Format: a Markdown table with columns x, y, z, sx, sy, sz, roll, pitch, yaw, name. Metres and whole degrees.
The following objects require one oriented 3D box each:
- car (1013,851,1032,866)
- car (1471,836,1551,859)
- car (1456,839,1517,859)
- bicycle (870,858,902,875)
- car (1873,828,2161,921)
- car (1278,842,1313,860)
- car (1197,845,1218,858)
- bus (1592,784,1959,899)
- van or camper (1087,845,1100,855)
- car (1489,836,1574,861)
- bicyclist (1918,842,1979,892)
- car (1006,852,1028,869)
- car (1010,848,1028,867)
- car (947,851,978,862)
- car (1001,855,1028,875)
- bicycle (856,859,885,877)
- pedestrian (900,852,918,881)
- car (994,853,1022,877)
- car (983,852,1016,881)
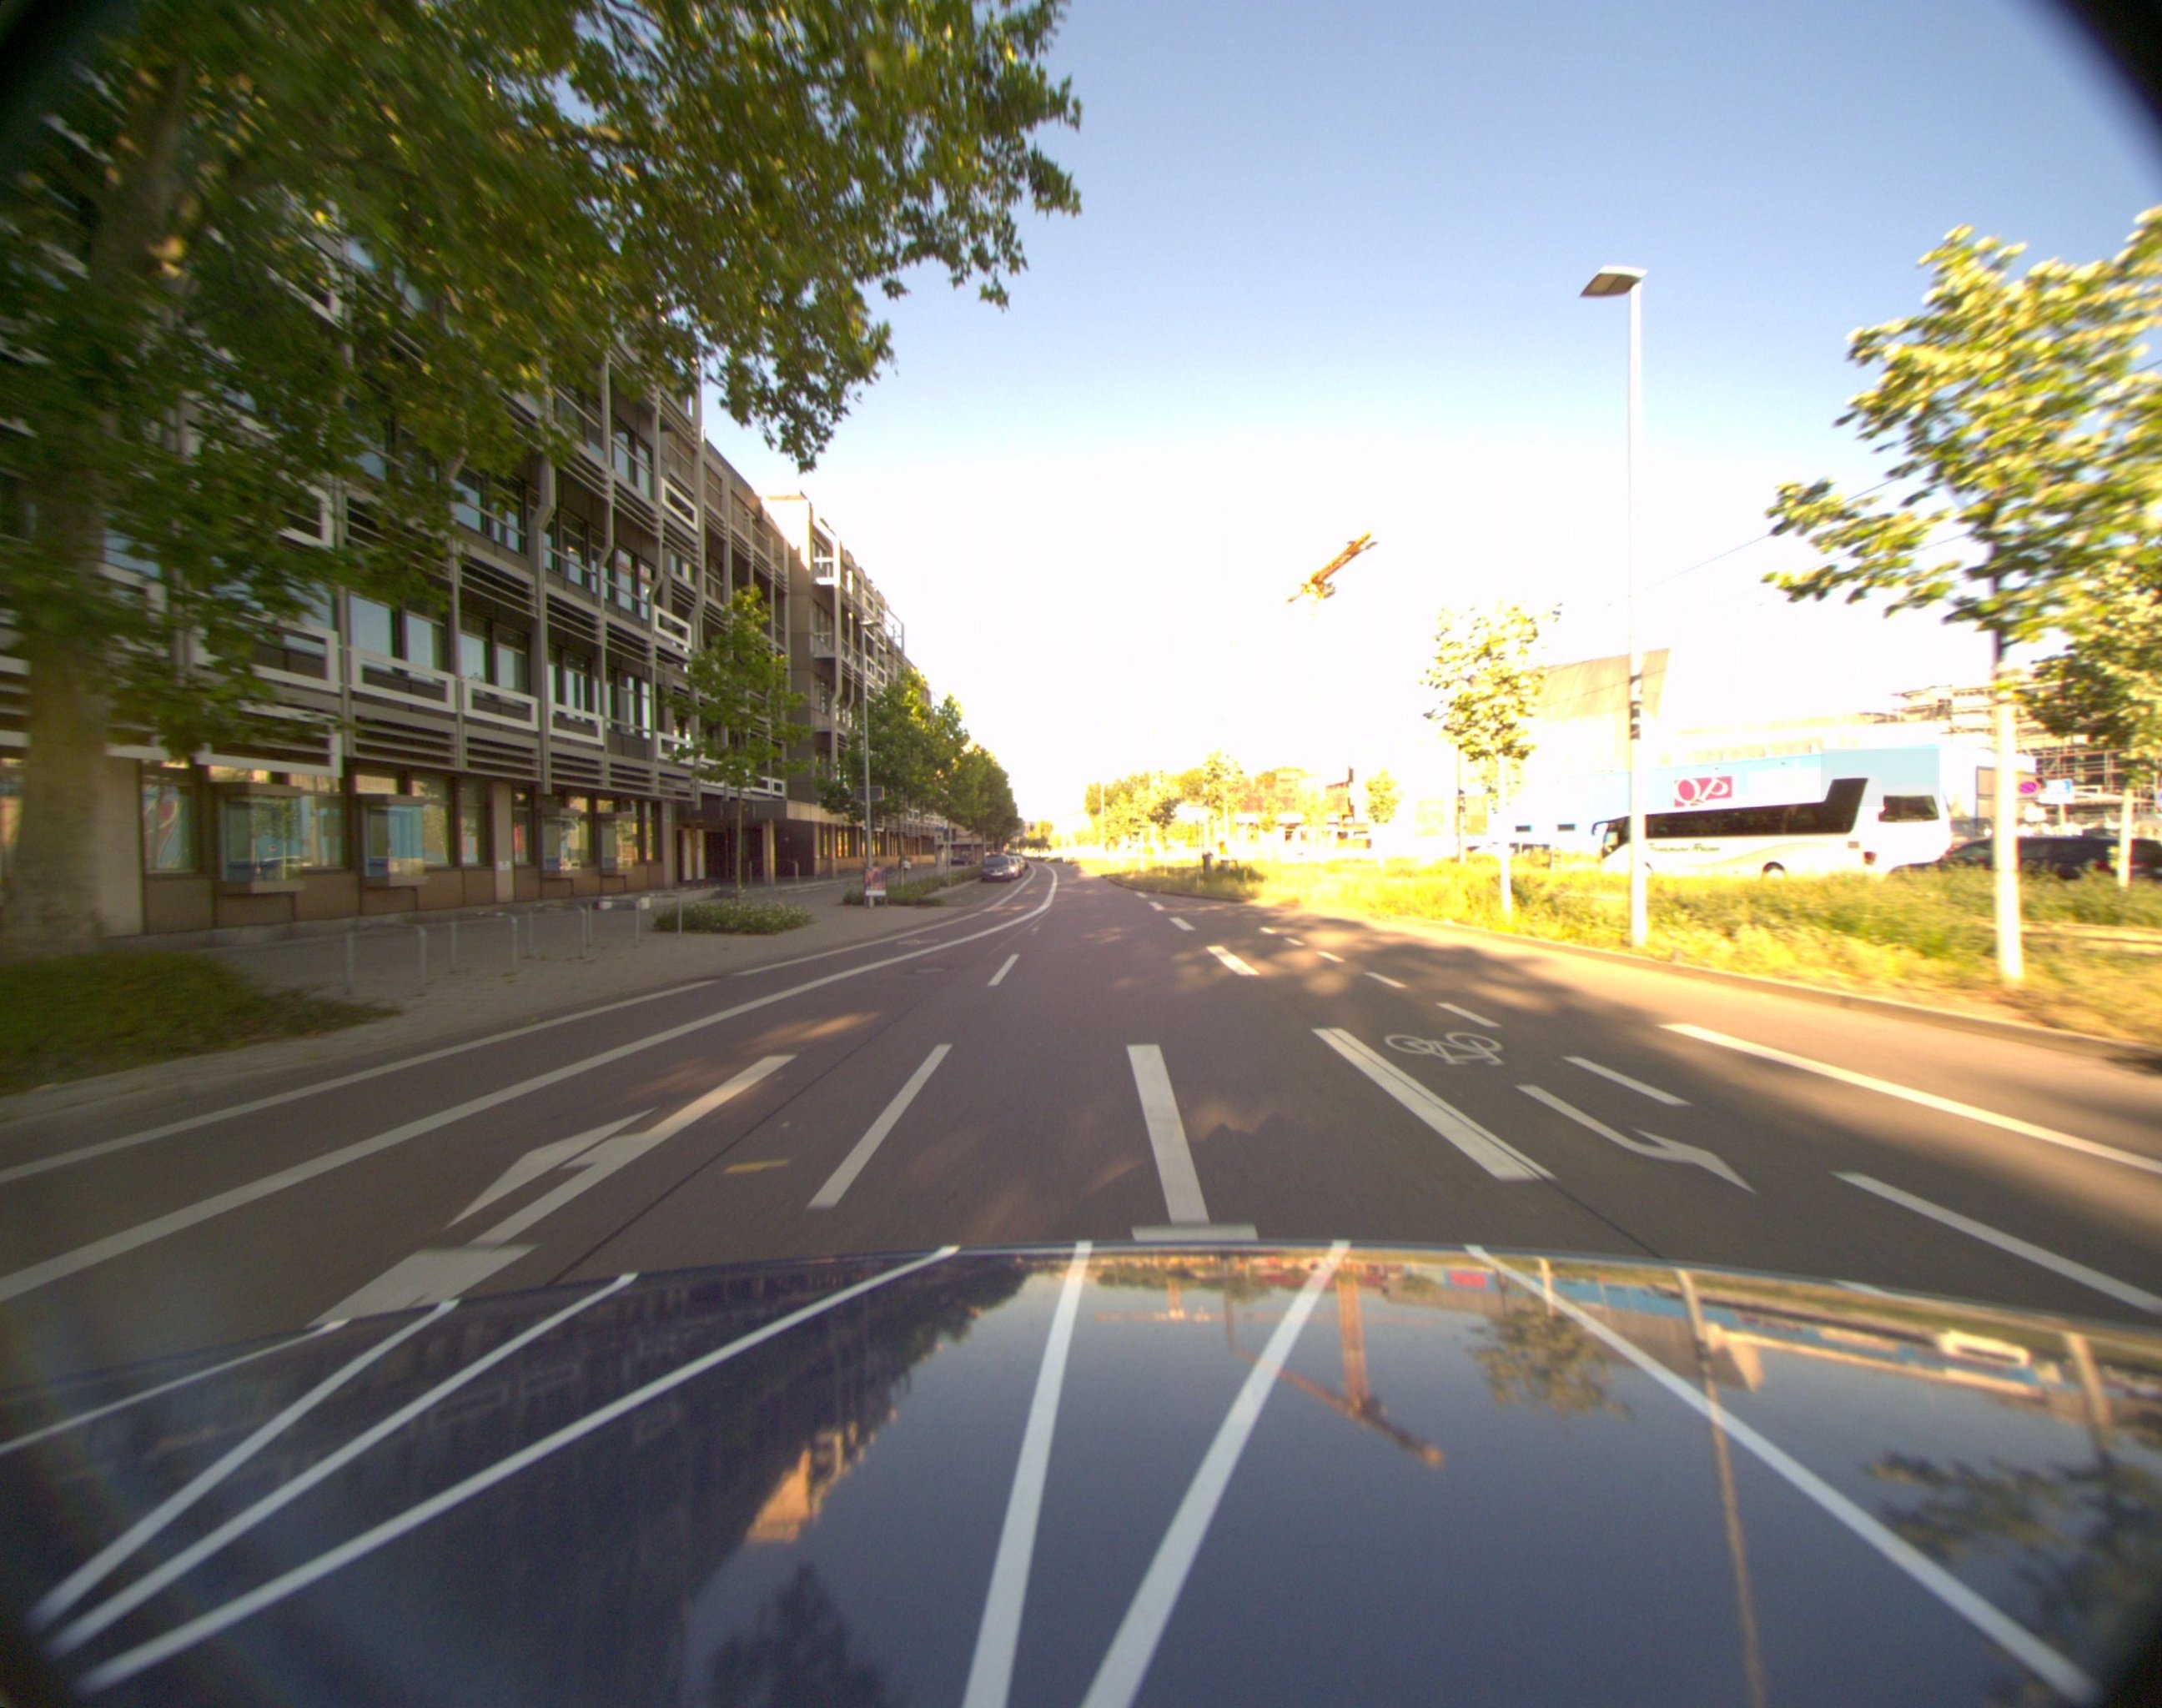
| x | y | z | sx | sy | sz | roll | pitch | yaw | name |
| --- | --- | --- | --- | --- | --- | --- | --- | --- | --- |
| -6.746 | 0.473 | 87.062 | 1.937 | 1.589 | 4.695 | 1 | 0 | -8 | car |
| 34.090 | -0.504 | 60.334 | 5.241 | 1.707 | 2.124 | -1 | 1 | -3 | car |
| 33.498 | -0.411 | 62.792 | 3.998 | 1.476 | 1.999 | -1 | 1 | -3 | car |
| -12.371 | 0.795 | 48.295 | 1.905 | 1.086 | 0.392 | 0 | 1 | -7 | bicycle |
| 20.903 | 0.355 | 16.740 | 1.875 | 1.755 | 4.812 | -1 | 0 | 0 | car |
| 20.367 | -0.317 | 72.241 | 1.999 | 1.633 | 4.166 | -1 | 1 | -2 | car |
| 17.203 | -0.338 | 103.695 | 1.999 | 1.641 | 4.269 | -1 | 1 | -3 | car |
| 26.137 | -0.442 | 30.266 | 2.806 | 3.574 | 12.695 | -1 | 0 | -1 | bus |
| 3.192 | -1.035 | 192.541 | 2.229 | 2.495 | 7.195 | 1 | 0 | -9 | van or camper |
| 34.077 | -0.423 | 57.555 | 5.241 | 1.707 | 2.124 | -1 | 1 | -3 | car |
| 24.018 | 0.362 | 21.057 | 0.689 | 1.339 | 0.871 | -1 | 1 | -1 | bicyclist |
| -5.846 | 0.561 | 69.827 | 1.668 | 1.481 | 4.203 | 1 | 0 | -1 | car |
| -6.485 | 0.328 | 79.667 | 1.739 | 1.908 | 4.391 | 1 | 0 | -4 | car |
| -17.356 | 0.421 | 111.365 | 4.277 | 1.442 | 1.860 | -2 | 2 | -13 | car |
| -5.118 | 0.795 | 58.751 | 1.799 | 1.440 | 4.375 | 1 | 0 | -2 | car |
| -12.719 | 0.831 | 45.943 | 1.631 | 1.076 | 0.392 | 0 | 1 | 1 | bicycle |
| -9.898 | 0.681 | 43.723 | 0.791 | 1.639 | 1.136 | 0 | 1 | -1 | pedestrian |
| -5.067 | 0.727 | 53.318 | 1.733 | 1.612 | 4.215 | 1 | 0 | -3 | car |
| -5.028 | 0.713 | 47.201 | 1.733 | 1.678 | 4.513 | 1 | 0 | -3 | car |
